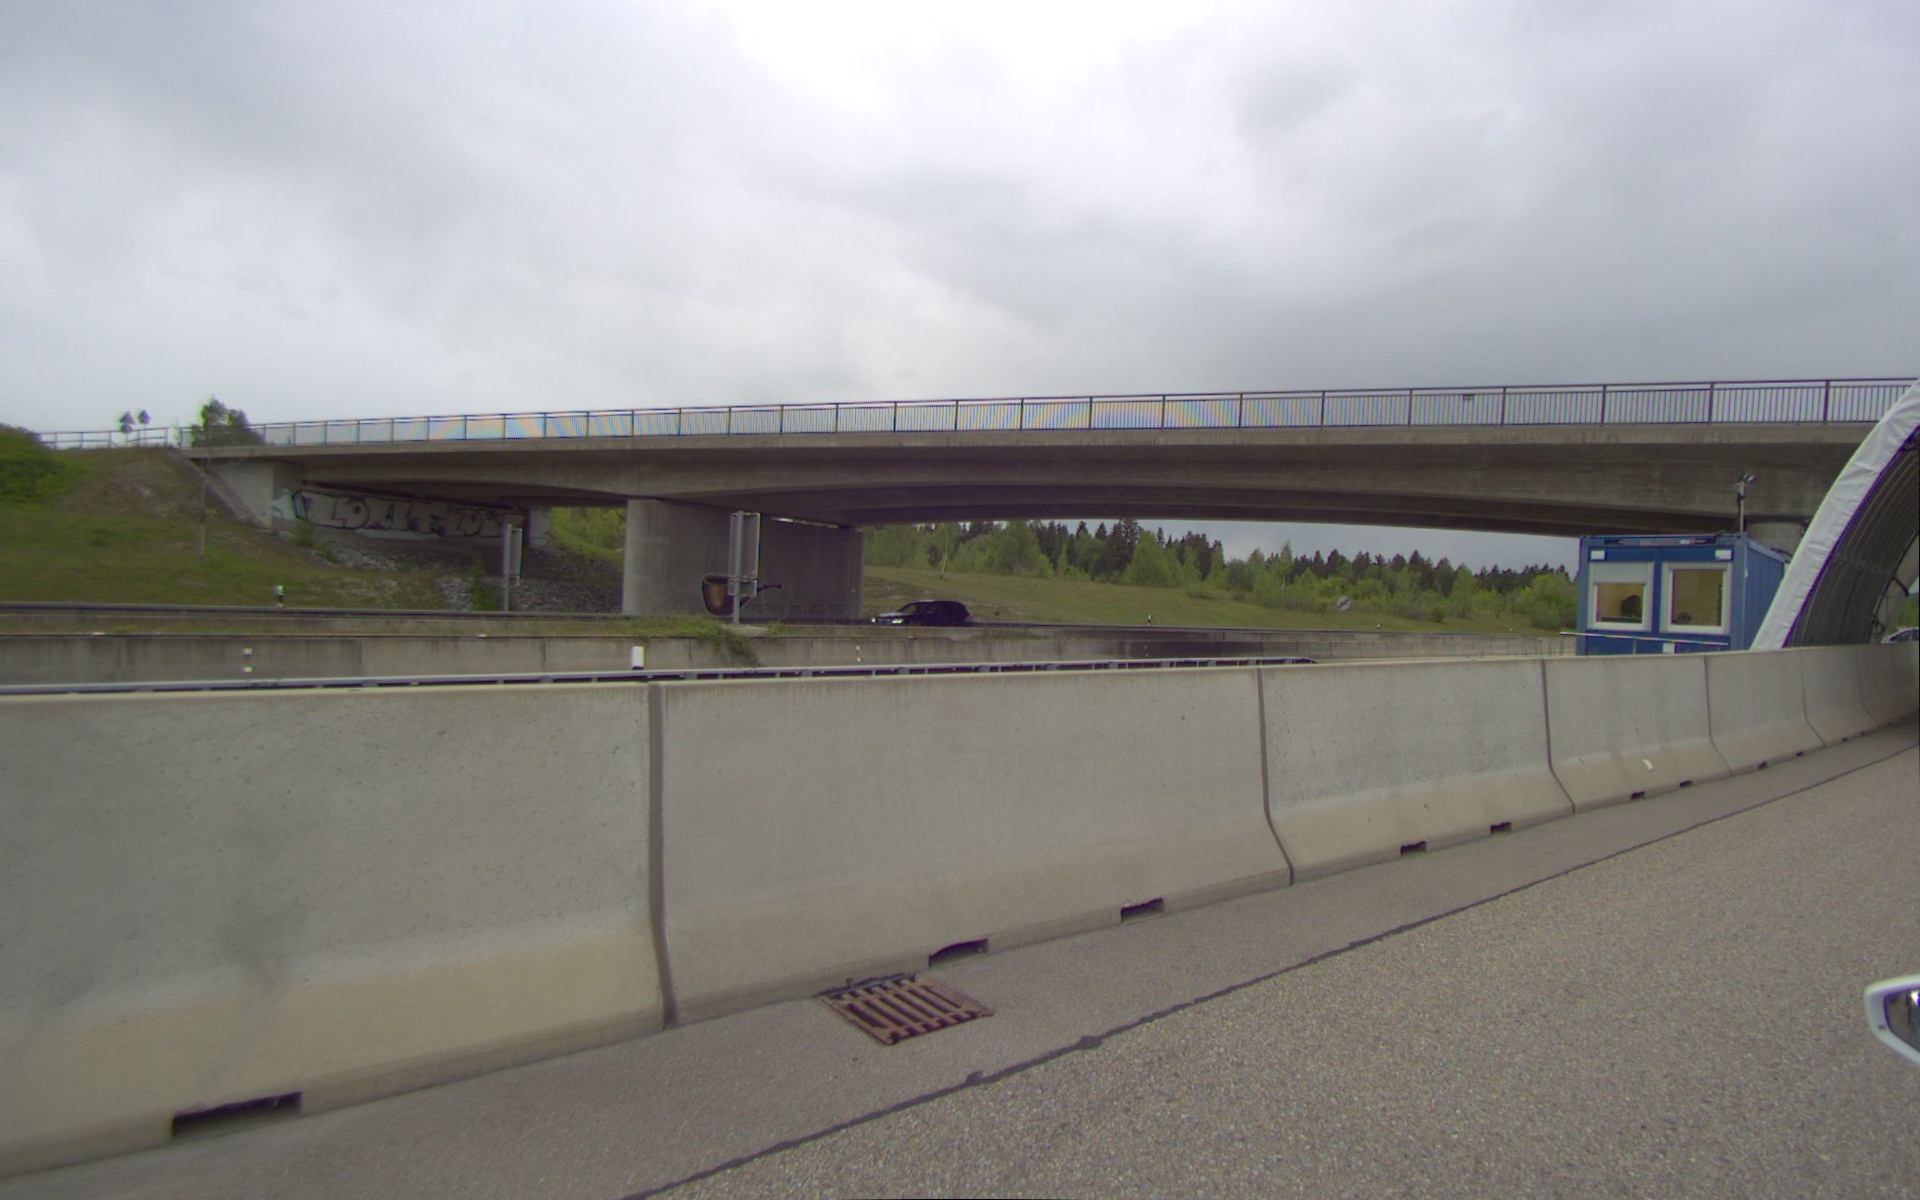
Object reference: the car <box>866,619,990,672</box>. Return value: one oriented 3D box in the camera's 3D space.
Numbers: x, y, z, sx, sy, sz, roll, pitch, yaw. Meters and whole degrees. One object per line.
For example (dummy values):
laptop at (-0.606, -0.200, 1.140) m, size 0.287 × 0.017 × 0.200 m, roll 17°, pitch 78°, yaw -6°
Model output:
car at (-1.226, 1.828, 40.607) m, size 1.964 × 1.981 × 5.079 m, roll 0°, pitch -2°, yaw 44°

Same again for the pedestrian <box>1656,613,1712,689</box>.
pedestrian at (13.631, 0.955, 18.914) m, size 0.618 × 1.391 × 0.609 m, roll 2°, pitch -1°, yaw -21°

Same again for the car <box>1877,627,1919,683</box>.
car at (36.679, 2.056, 36.397) m, size 1.814 × 2.040 × 4.797 m, roll 2°, pitch -1°, yaw -22°
